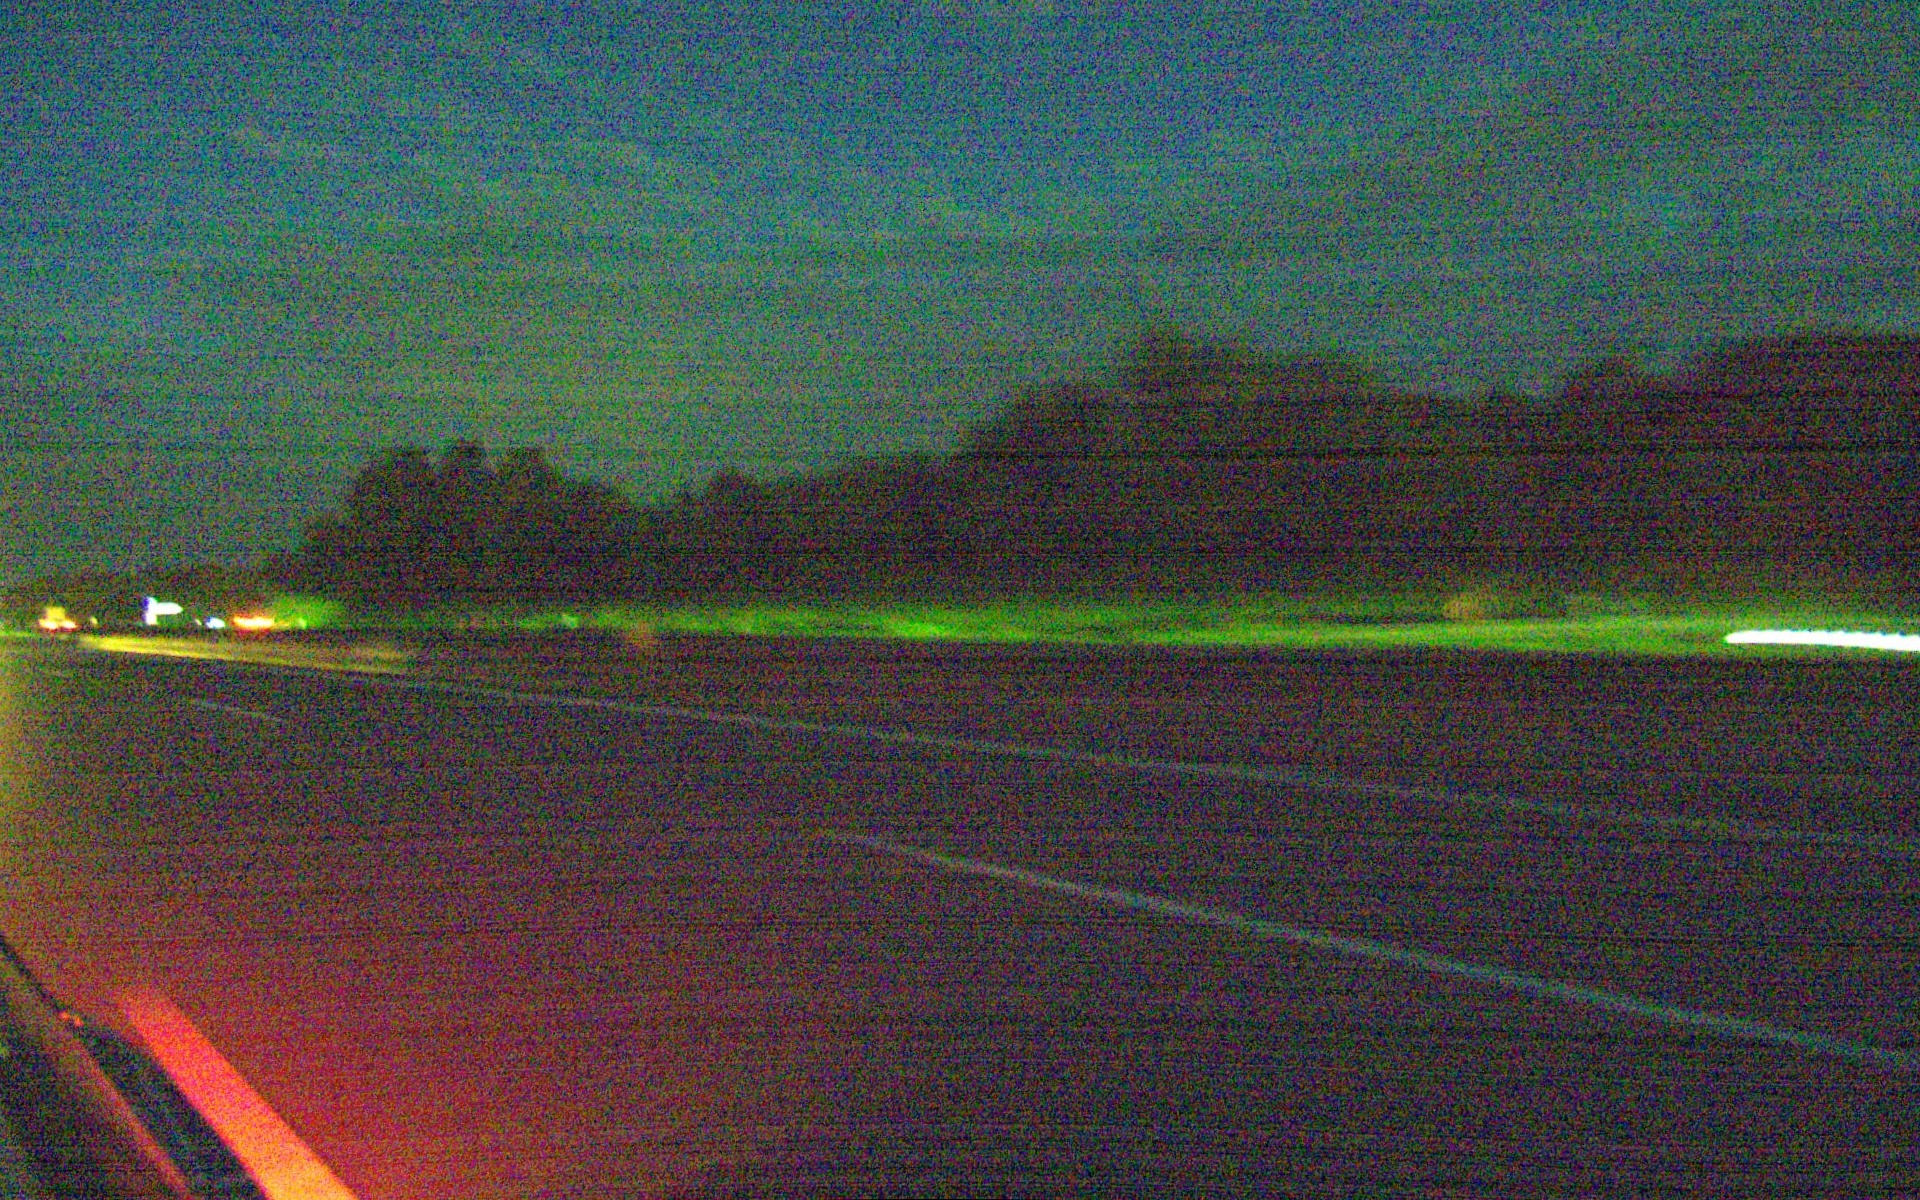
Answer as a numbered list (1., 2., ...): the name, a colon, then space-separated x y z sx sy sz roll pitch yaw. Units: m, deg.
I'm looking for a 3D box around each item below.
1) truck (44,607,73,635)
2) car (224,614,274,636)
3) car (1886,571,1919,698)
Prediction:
1. truck: -134.663 3.156 151.113 9.066 3.881 2.492 -2 0 44
2. car: -52.748 1.838 75.070 3.995 1.520 1.974 -1 0 39
3. car: 13.930 0.357 11.312 5.201 1.520 1.972 -1 0 42
